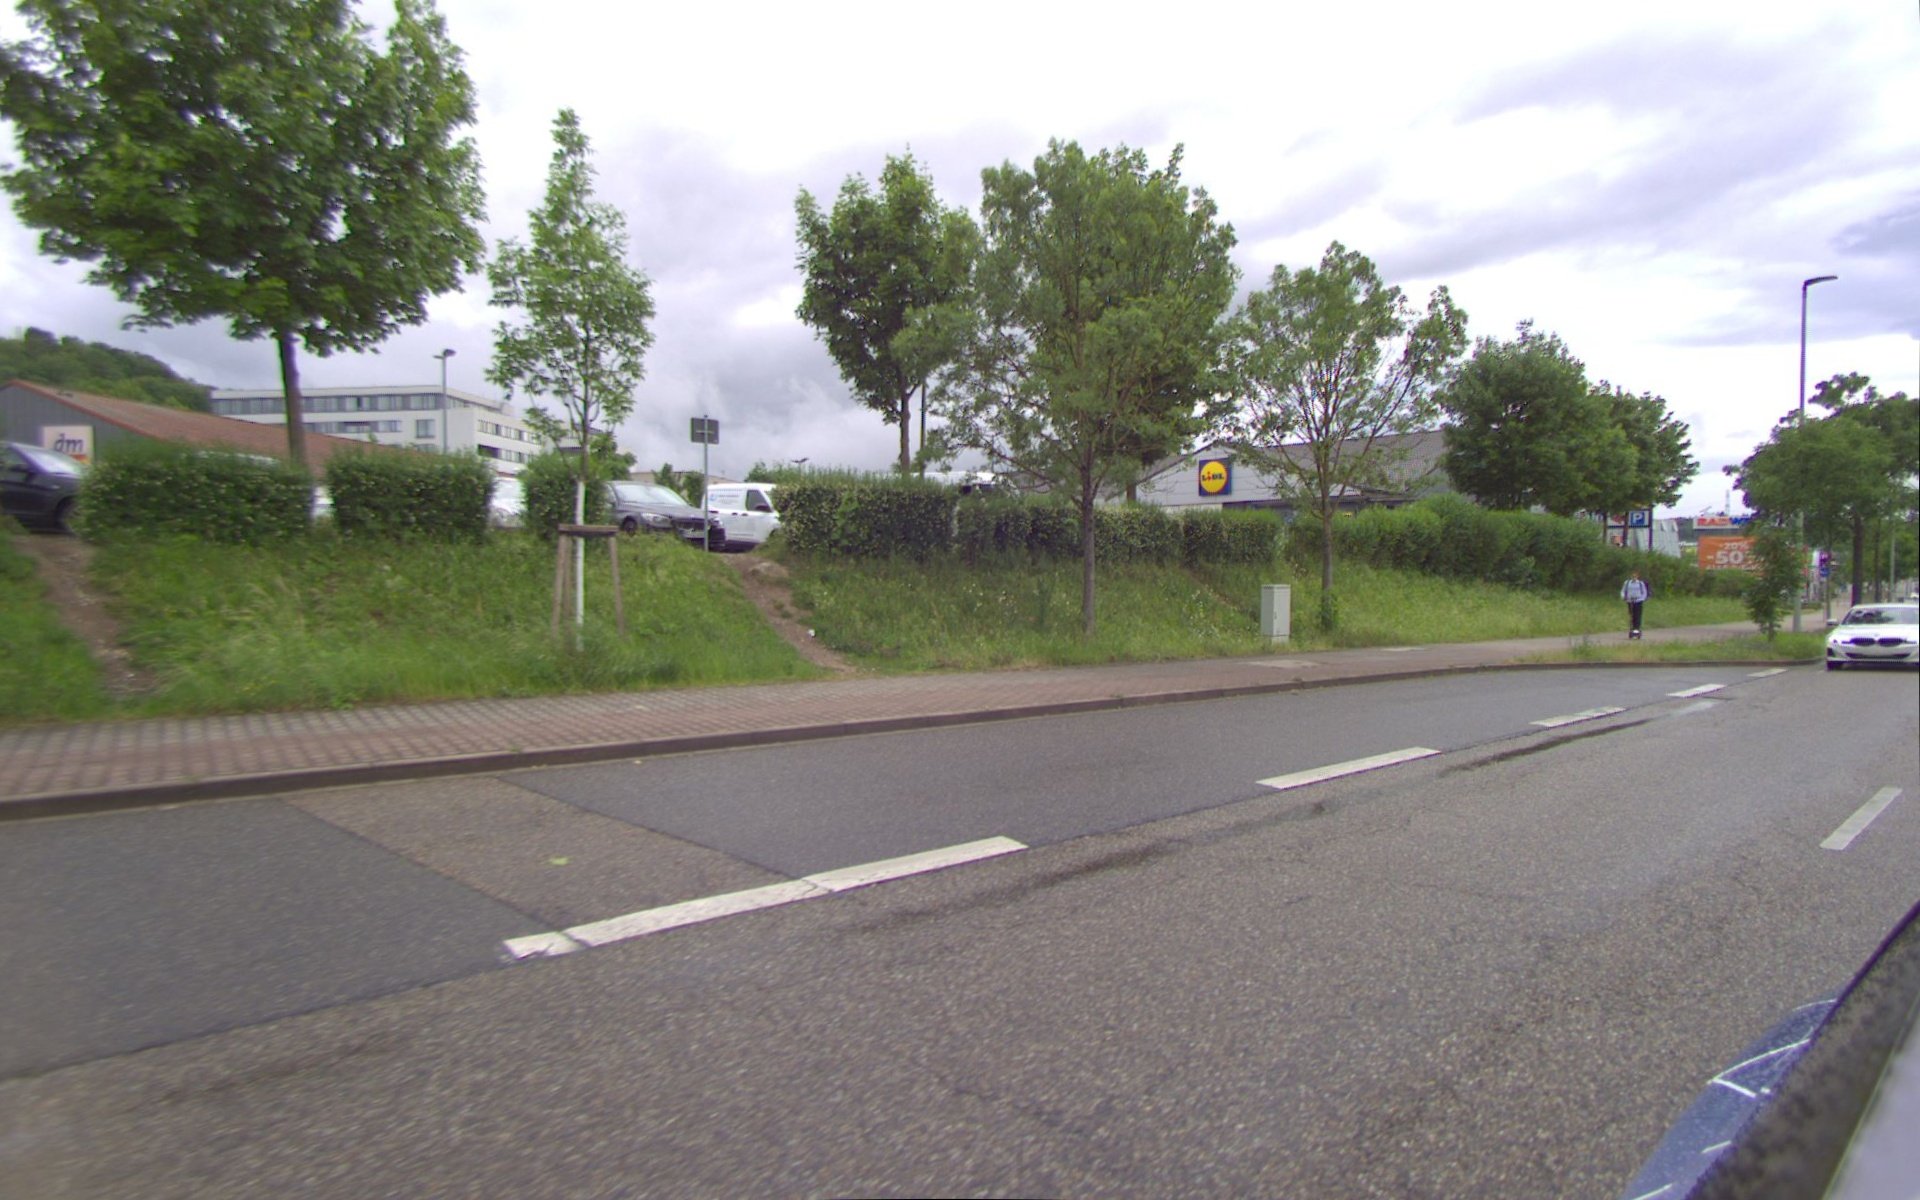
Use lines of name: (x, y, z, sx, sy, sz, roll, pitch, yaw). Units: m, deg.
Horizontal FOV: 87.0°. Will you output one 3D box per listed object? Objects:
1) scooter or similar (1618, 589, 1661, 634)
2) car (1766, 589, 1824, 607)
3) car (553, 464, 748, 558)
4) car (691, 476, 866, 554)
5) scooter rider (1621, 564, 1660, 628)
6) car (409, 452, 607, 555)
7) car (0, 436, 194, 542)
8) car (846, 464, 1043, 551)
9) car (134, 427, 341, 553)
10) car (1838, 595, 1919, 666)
scooter or similar: (20.254, 0.334, 30.177, 1.376, 1.279, 0.696, -1, 3, -42)
car: (94.326, -0.236, 114.378, 1.890, 1.620, 4.672, 1, 4, -37)
car: (-6.329, -1.792, 20.430, 4.351, 1.648, 1.897, 6, 5, 44)
car: (-4.383, -2.027, 23.974, 4.351, 1.648, 1.897, 6, 5, 44)
scooter rider: (20.295, -0.137, 30.181, 0.843, 1.842, 0.696, -1, 3, -41)
car: (-8.494, -1.779, 18.811, 4.351, 1.648, 1.897, 6, 5, 44)
car: (-16.189, -1.934, 17.503, 4.271, 1.648, 1.933, 2, 3, -11)
car: (-0.559, -2.610, 28.472, 5.608, 2.167, 2.090, 6, 5, 42)
car: (-11.329, -1.670, 15.749, 4.351, 1.648, 1.897, 6, 5, 44)
car: (21.247, 0.621, 22.719, 4.464, 1.459, 1.806, 0, -1, -42)
